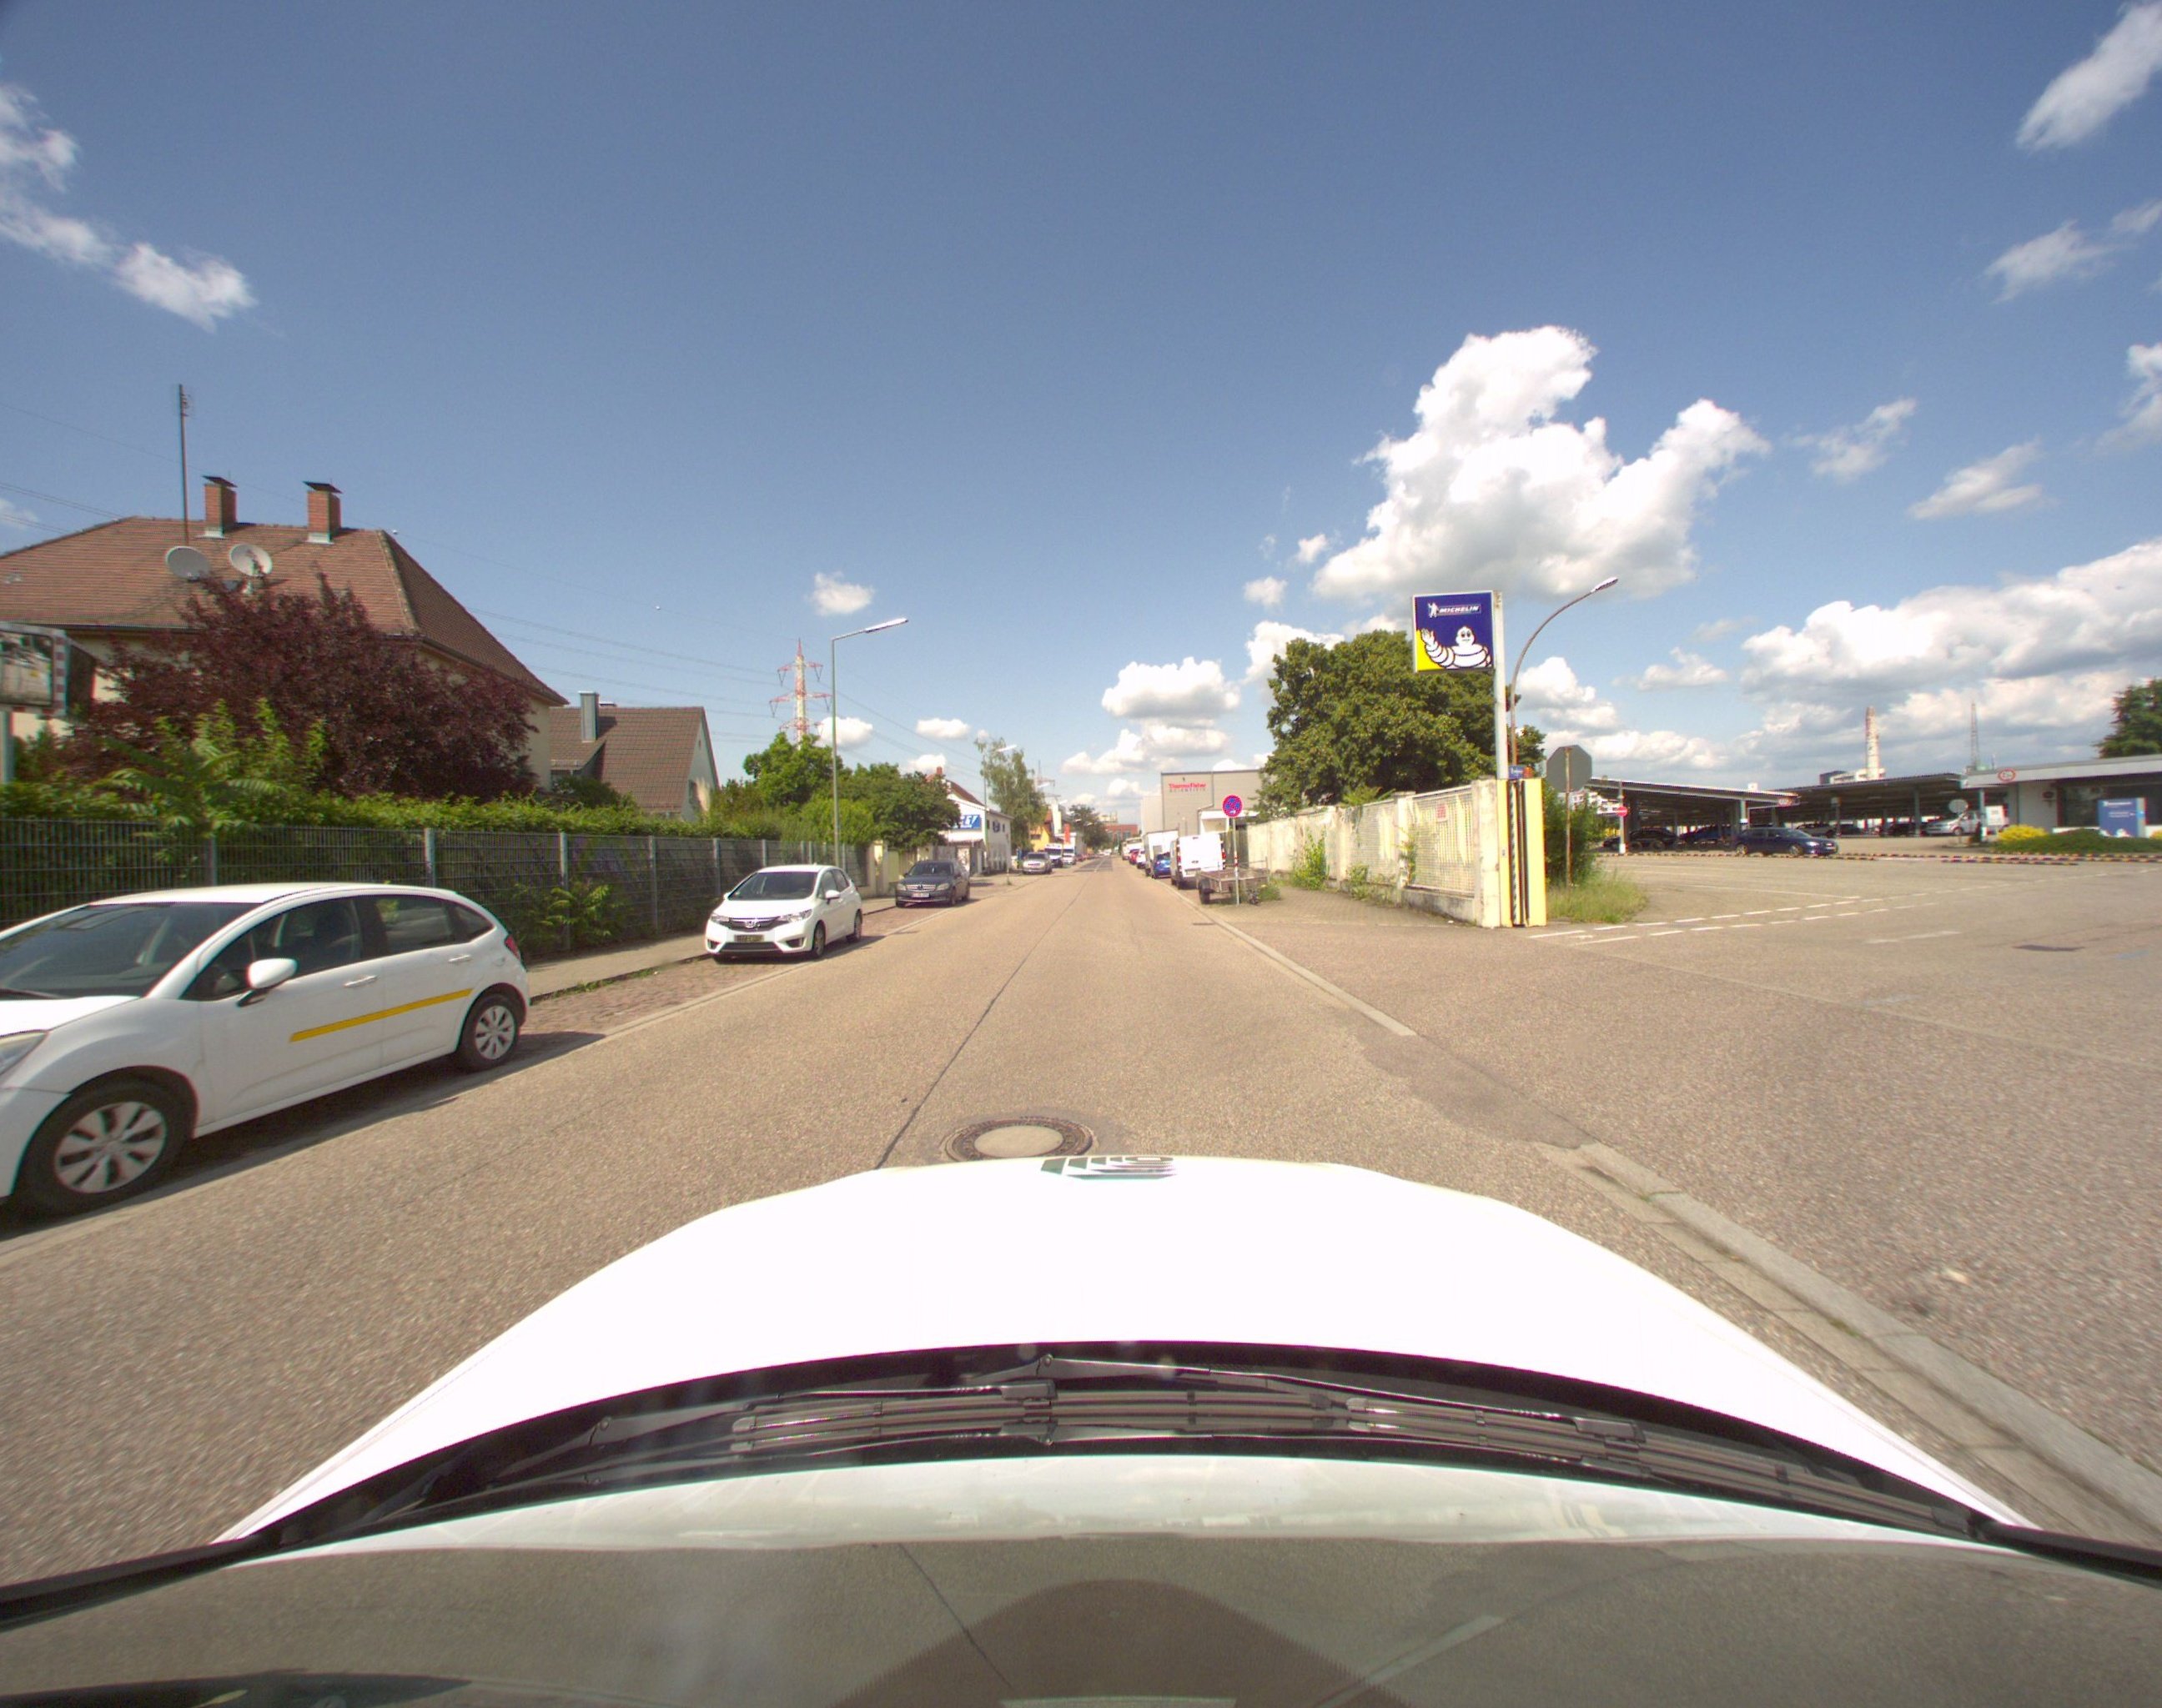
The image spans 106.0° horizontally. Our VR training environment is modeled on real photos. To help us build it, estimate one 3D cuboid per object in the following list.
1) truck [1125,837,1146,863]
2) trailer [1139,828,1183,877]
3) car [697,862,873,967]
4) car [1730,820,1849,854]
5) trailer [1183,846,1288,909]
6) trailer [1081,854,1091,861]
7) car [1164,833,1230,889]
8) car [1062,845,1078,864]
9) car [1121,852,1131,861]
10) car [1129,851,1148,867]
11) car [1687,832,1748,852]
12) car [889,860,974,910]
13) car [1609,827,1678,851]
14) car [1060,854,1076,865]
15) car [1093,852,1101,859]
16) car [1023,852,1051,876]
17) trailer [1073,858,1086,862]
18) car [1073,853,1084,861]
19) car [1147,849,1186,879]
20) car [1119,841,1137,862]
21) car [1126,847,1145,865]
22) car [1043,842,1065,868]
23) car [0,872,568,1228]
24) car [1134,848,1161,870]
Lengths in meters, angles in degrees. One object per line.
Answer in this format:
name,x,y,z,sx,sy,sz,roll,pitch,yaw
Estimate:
truck,7.677,-0.562,114.524,2.449,3.293,6.822,-6,-1,3
trailer,5.024,-0.062,52.070,2.196,2.737,6.223,-5,-1,1
car,-5.027,0.936,14.456,1.615,1.522,4.174,-2,0,-1
car,33.712,-0.781,38.900,1.828,1.518,4.029,0,-1,-12
trailer,4.146,0.612,22.575,1.745,1.417,4.544,-5,-1,-3
trailer,1.134,0.722,184.437,1.986,1.556,4.255,-1,0,2
car,4.591,0.274,32.965,1.986,2.013,5.652,-2,0,2
car,-1.462,0.032,113.113,2.019,2.561,6.841,0,-1,1
car,8.789,0.442,158.145,1.761,1.612,3.876,-2,-1,3
car,6.332,0.571,89.895,1.698,1.624,4.094,-5,-1,1
car,56.623,-1.051,72.555,4.177,1.632,1.863,-1,-1,35
car,-4.665,0.921,26.061,1.799,1.418,4.497,0,0,1
car,41.991,-1.092,60.882,4.177,1.632,1.863,-1,-1,35
car,-1.698,0.715,105.794,1.788,1.397,4.505,0,0,3
car,4.513,0.492,223.416,1.913,1.794,4.005,0,-1,5
car,-3.387,0.754,63.313,1.784,1.719,4.754,1,0,2
trailer,-0.248,1.198,163.427,2.353,0.893,5.572,0,0,2
car,-0.438,0.585,144.653,1.755,1.447,4.744,0,0,3
car,4.717,0.559,45.317,1.684,1.461,4.071,-4,-1,1
car,8.397,-0.441,145.572,2.381,3.362,6.642,-5,0,-1
car,6.476,0.182,97.027,2.045,1.903,5.151,-5,0,3
car,-2.778,0.136,86.061,2.023,2.557,6.657,0,0,0
car,-5.432,0.901,5.212,1.639,1.477,4.030,-2,-1,1
car,5.723,0.370,70.479,1.928,1.693,4.682,-4,0,2
